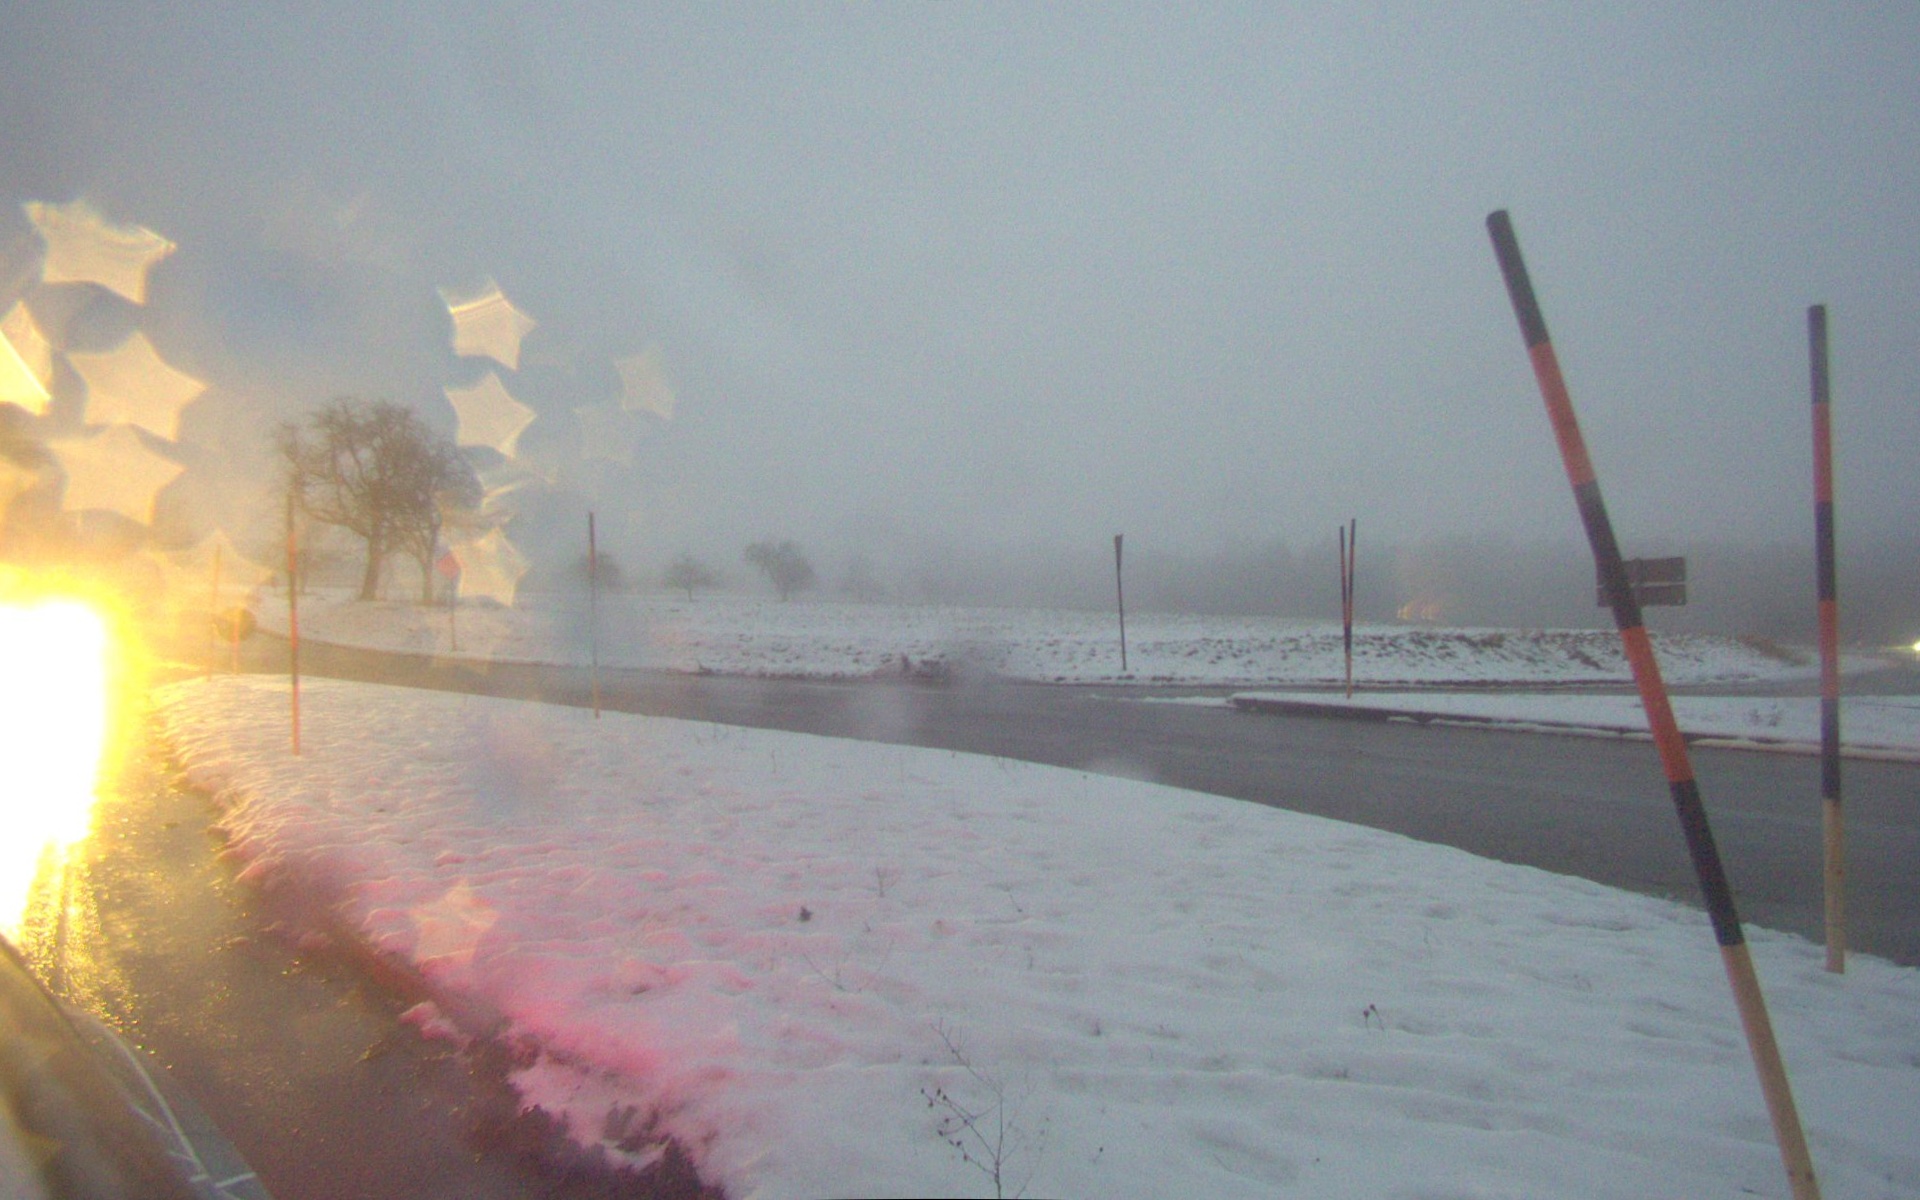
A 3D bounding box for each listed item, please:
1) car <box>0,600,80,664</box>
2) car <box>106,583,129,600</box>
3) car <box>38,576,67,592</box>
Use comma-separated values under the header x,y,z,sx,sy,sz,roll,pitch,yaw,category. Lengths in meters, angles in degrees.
x,y,z,sx,sy,sz,roll,pitch,yaw,category
-22.978,0.748,25.045,1.699,1.445,3.683,-1,0,-40,car
-94.005,-0.953,112.882,1.969,1.820,4.006,-1,1,-41,car
-104.060,-1.789,116.041,3.997,1.820,1.973,0,1,40,car
